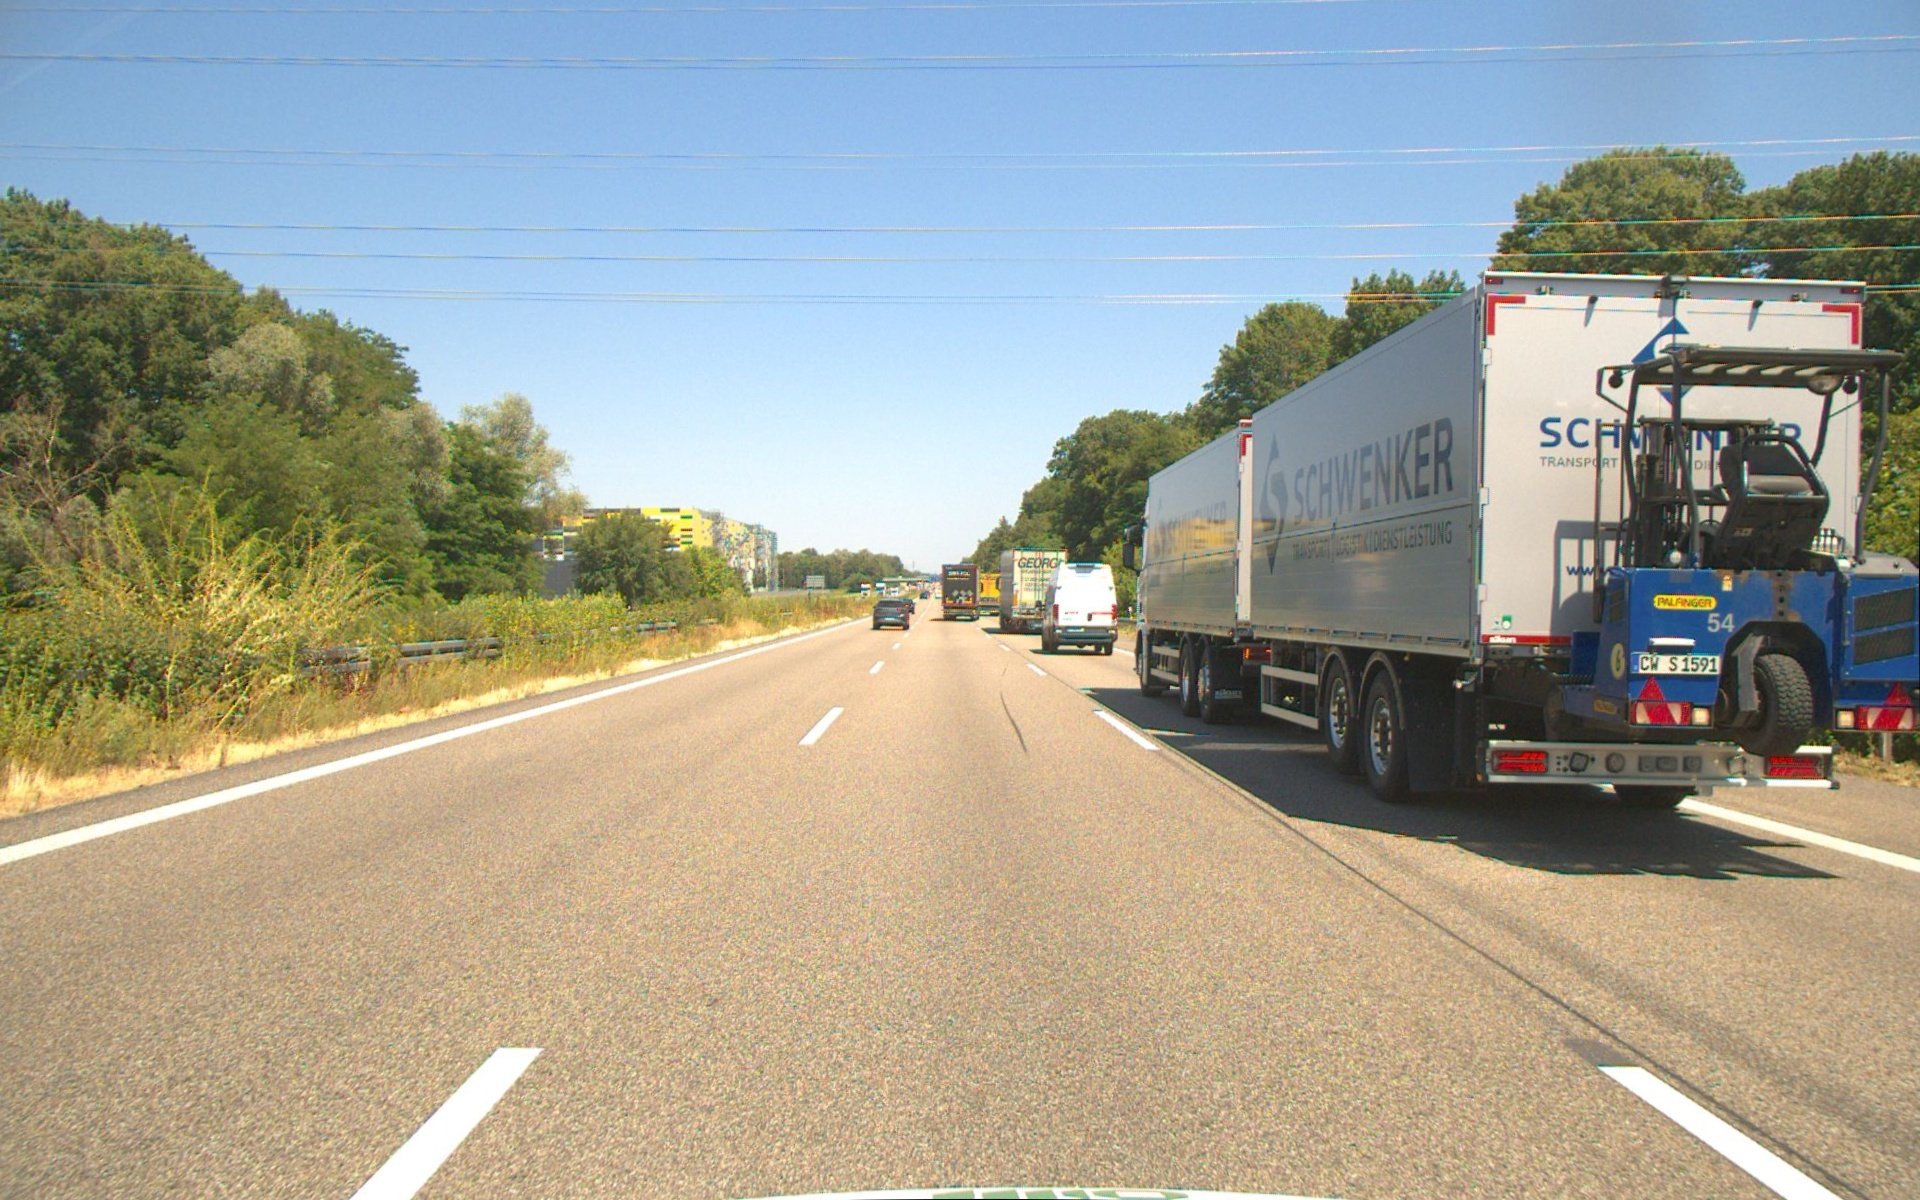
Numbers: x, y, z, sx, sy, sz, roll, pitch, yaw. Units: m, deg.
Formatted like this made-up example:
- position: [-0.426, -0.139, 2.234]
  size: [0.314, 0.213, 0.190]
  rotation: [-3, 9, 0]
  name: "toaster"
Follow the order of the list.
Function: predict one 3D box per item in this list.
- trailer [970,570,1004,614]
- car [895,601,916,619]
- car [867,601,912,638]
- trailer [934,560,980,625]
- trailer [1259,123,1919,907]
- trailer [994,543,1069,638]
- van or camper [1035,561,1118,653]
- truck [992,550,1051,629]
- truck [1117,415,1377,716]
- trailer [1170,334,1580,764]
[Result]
- position: [2.507, -0.783, 158.262]
  size: [2.777, 4.023, 11.681]
  rotation: [1, 0, -1]
  name: "trailer"
- position: [-5.284, 0.921, 160.561]
  size: [1.902, 1.736, 3.999]
  rotation: [0, 0, -1]
  name: "car"
- position: [-3.624, 0.977, 85.549]
  size: [2.171, 1.821, 5.392]
  rotation: [0, 0, -1]
  name: "car"
- position: [-0.309, -0.508, 125.256]
  size: [3.043, 4.585, 14.891]
  rotation: [1, 0, -1]
  name: "trailer"
- position: [4.601, -0.429, 12.888]
  size: [2.885, 4.134, 8.126]
  rotation: [1, 0, -1]
  name: "trailer"
- position: [3.473, -0.444, 83.591]
  size: [2.933, 4.364, 13.415]
  rotation: [1, 0, -1]
  name: "trailer"
- position: [3.590, 0.207, 52.072]
  size: [1.981, 2.683, 6.485]
  rotation: [1, 0, -1]
  name: "van or camper"
- position: [3.355, -0.533, 90.945]
  size: [2.941, 4.197, 5.251]
  rotation: [1, 0, -1]
  name: "truck"
- position: [4.297, -0.461, 26.282]
  size: [2.830, 4.100, 6.868]
  rotation: [1, 0, -1]
  name: "truck"
- position: [4.492, -0.483, 19.679]
  size: [2.860, 4.112, 7.315]
  rotation: [1, 0, -1]
  name: "trailer"
